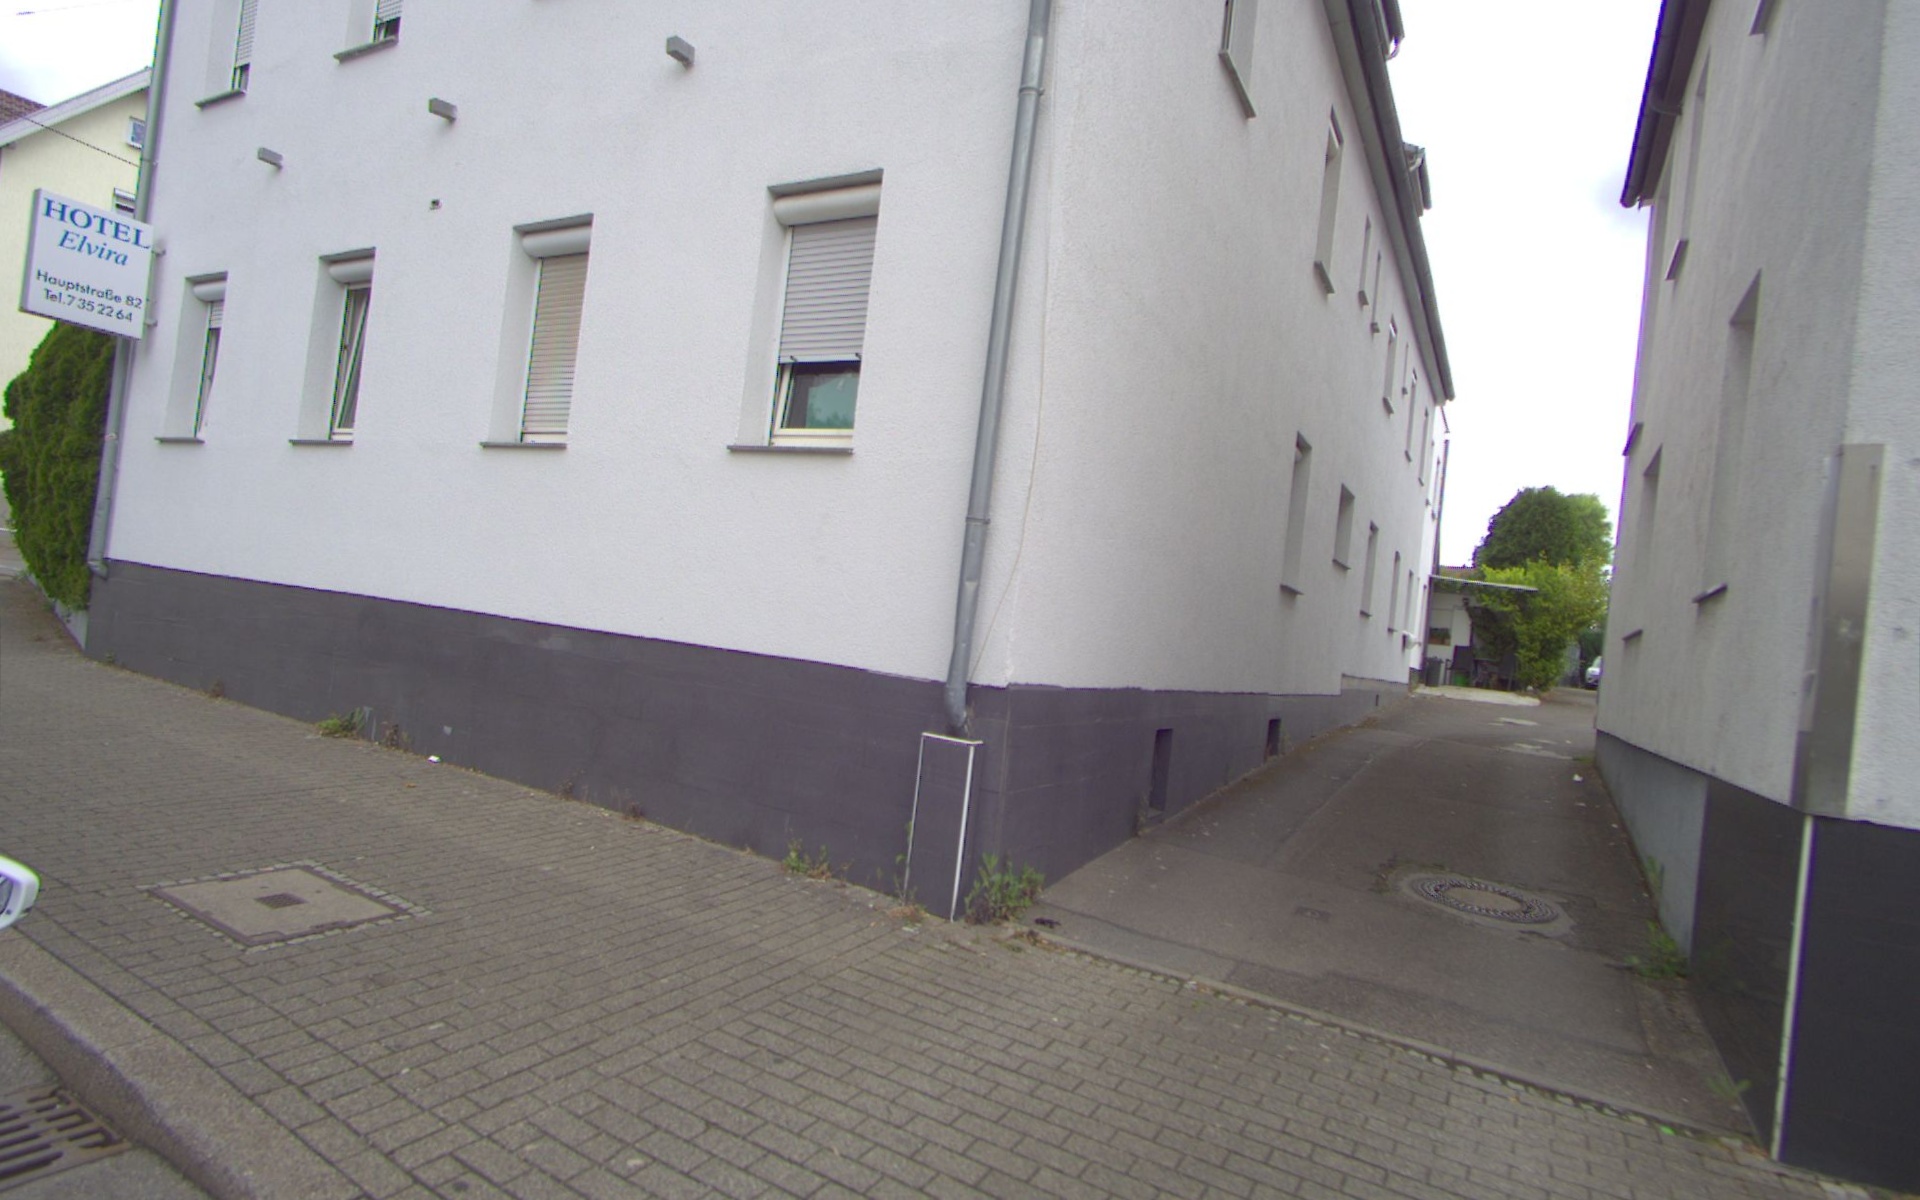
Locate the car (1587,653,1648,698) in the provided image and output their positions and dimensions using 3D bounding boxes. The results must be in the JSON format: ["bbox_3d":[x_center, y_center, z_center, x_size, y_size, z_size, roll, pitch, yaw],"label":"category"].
[{"bbox_3d":[30.239,3.492,46.206,1.970,1.636,3.989,6,-3,37],"label":"car"}]
